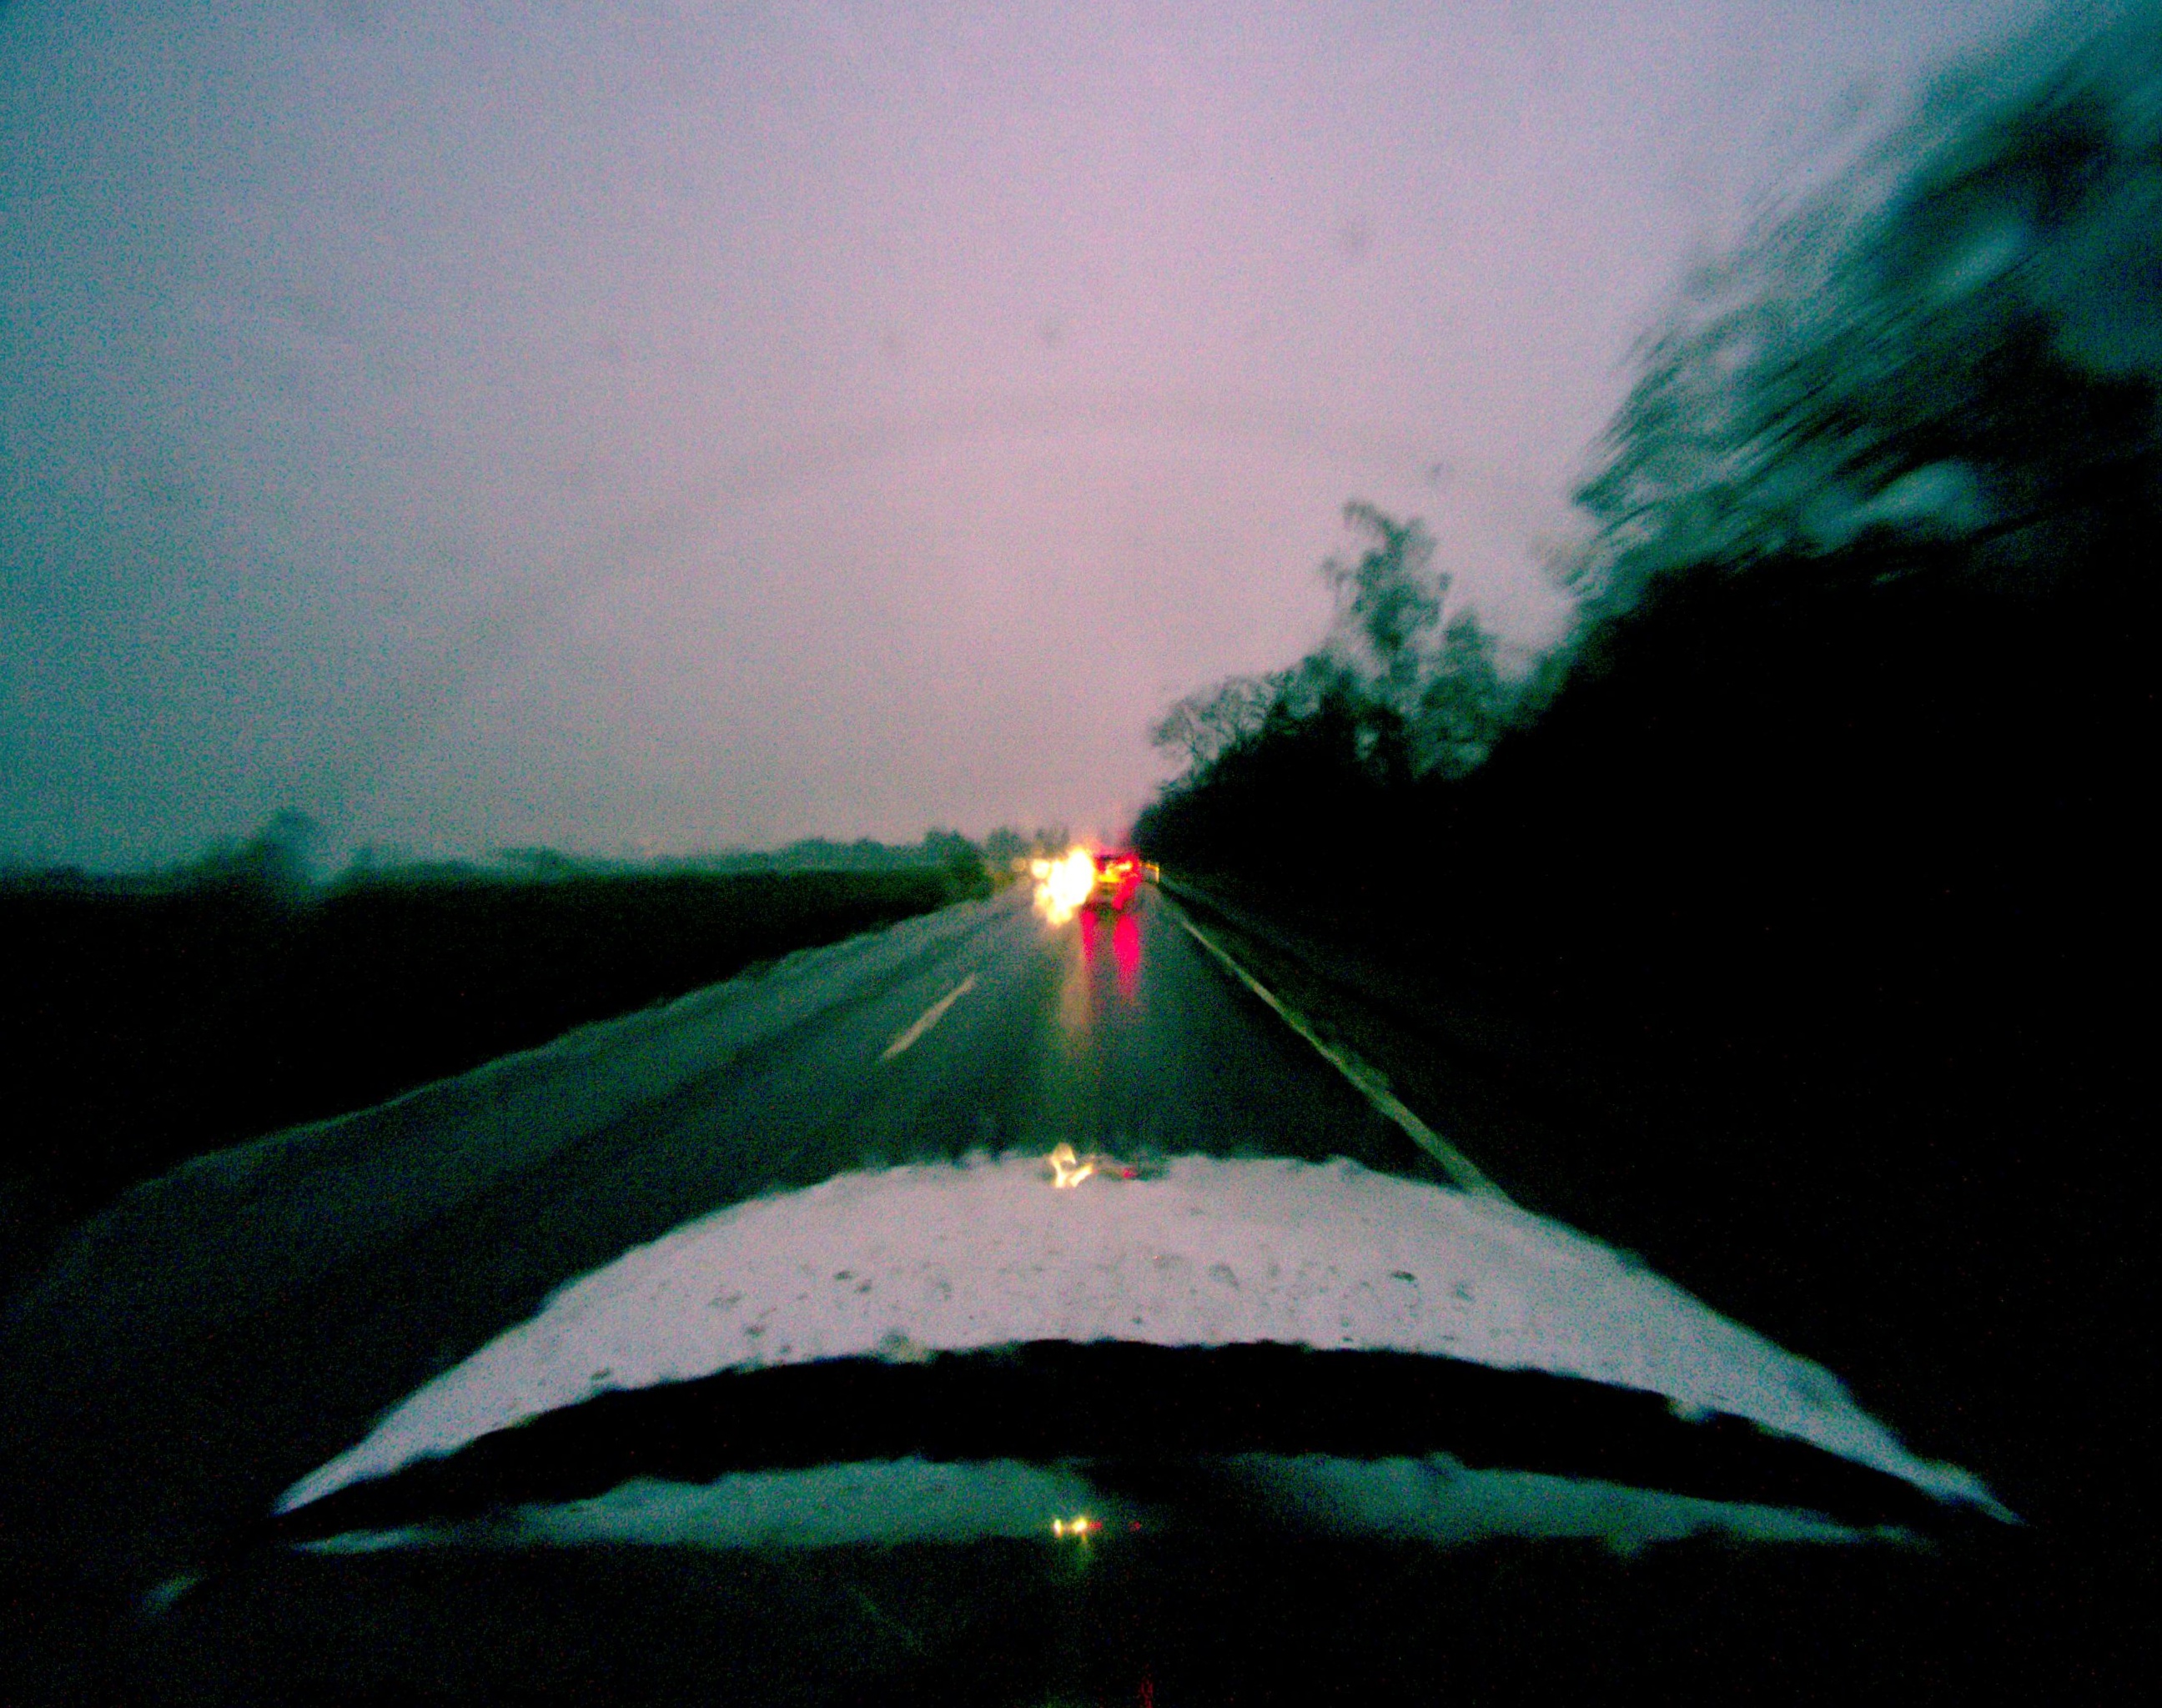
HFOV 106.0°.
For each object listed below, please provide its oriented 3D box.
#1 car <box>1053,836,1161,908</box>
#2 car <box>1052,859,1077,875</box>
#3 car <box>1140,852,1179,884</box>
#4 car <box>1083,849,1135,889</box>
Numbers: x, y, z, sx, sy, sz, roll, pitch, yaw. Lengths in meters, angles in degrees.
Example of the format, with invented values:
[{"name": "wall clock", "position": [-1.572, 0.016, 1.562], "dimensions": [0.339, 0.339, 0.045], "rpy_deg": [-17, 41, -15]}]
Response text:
[{"name": "car", "position": [0.886, 0.537, 27.695], "dimensions": [3.153, 2.035, 6.854], "rpy_deg": [-2, 0, 2]}, {"name": "car", "position": [-1.415, 1.104, 71.229], "dimensions": [1.986, 1.372, 4.399], "rpy_deg": [-1, 0, 1]}, {"name": "car", "position": [4.480, 0.788, 46.921], "dimensions": [1.921, 1.750, 4.001], "rpy_deg": [-1, -1, 1]}, {"name": "car", "position": [1.649, 0.810, 47.673], "dimensions": [2.745, 2.035, 6.593], "rpy_deg": [-2, 0, 2]}]
